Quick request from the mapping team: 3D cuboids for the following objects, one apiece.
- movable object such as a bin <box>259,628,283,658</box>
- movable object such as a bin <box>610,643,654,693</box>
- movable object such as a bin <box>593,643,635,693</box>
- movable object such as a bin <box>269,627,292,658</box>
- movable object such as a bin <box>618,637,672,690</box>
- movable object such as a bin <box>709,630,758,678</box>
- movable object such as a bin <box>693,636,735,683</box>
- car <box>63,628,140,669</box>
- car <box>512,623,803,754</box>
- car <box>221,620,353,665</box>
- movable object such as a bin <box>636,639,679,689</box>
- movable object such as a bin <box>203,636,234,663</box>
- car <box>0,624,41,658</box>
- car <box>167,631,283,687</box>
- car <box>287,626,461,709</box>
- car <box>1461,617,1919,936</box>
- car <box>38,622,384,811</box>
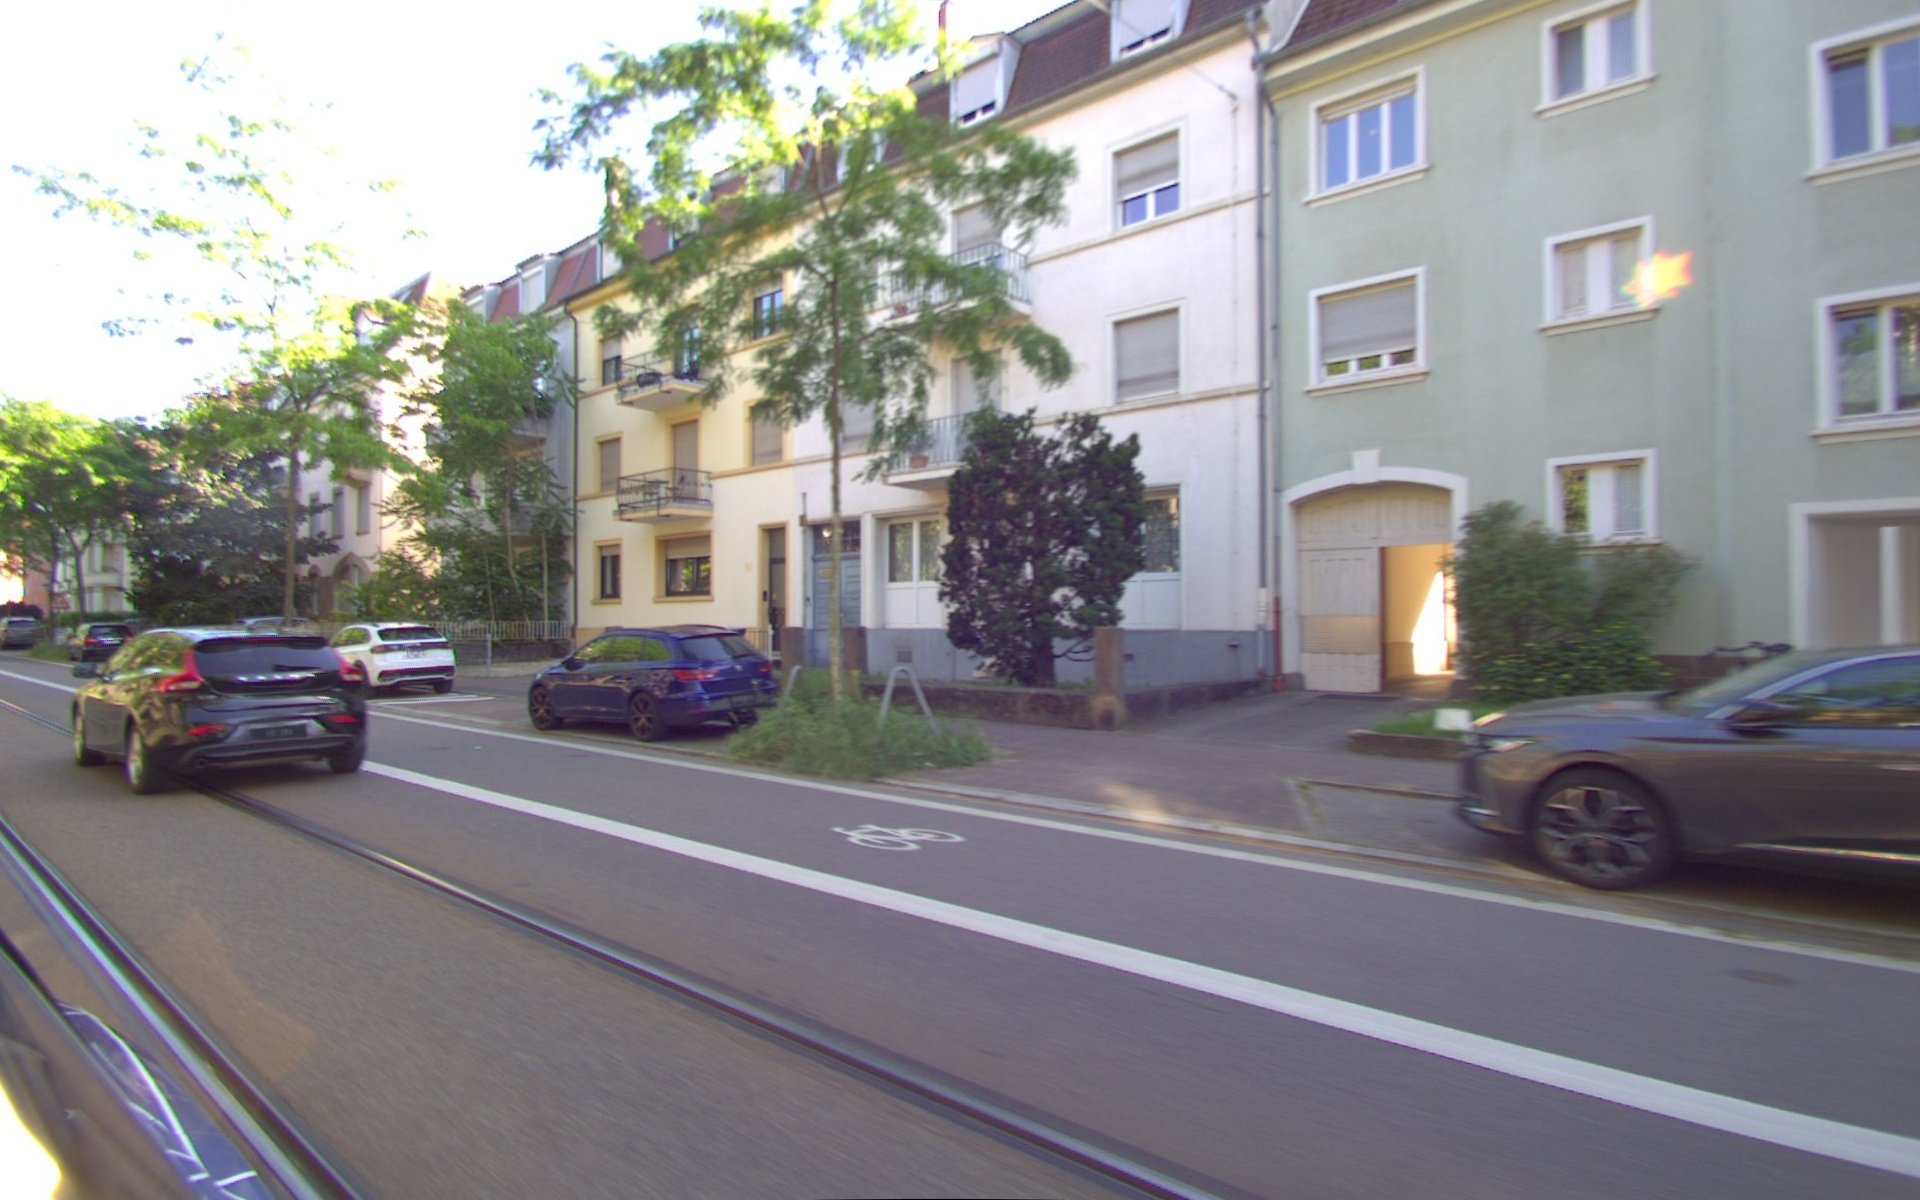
[{"bbox_3d":[-24.677,1.532,36.247,0.670,1.074,0.535,-2,-2,41],"label":"movable object such as a bin"},{"bbox_3d":[-6.756,1.388,20.839,0.733,0.983,0.553,-2,0,44],"label":"movable object such as a bin"},{"bbox_3d":[-7.301,1.424,21.369,0.733,0.983,0.553,-2,0,44],"label":"movable object such as a bin"},{"bbox_3d":[-23.845,1.493,35.524,0.510,1.074,0.541,-2,-2,41],"label":"movable object such as a bin"},{"bbox_3d":[-6.804,1.360,21.882,0.733,1.054,0.835,-2,0,44],"label":"movable object such as a bin"},{"bbox_3d":[-5.248,1.241,23.473,0.733,1.054,0.835,-2,0,44],"label":"movable object such as a bin"},{"bbox_3d":[-5.369,1.292,22.104,0.733,0.983,0.553,-2,0,44],"label":"movable object such as a bin"},{"bbox_3d":[-35.189,1.937,41.451,4.483,1.553,1.758,-2,-1,41],"label":"car"},{"bbox_3d":[-4.336,1.111,14.141,4.435,1.522,1.740,-2,-1,40],"label":"car"},{"bbox_3d":[-27.502,1.704,41.467,1.981,1.671,4.124,-1,-1,39],"label":"car"},{"bbox_3d":[-6.361,1.333,21.248,0.733,0.983,0.553,-2,0,44],"label":"movable object such as a bin"},{"bbox_3d":[-30.452,2.014,41.542,0.813,1.074,0.866,-2,-2,41],"label":"movable object such as a bin"},{"bbox_3d":[-54.438,2.335,58.093,4.766,1.837,1.852,-2,-1,39],"label":"car"},{"bbox_3d":[-20.909,1.609,28.718,4.330,1.417,1.688,-2,-1,40],"label":"car"},{"bbox_3d":[-12.369,1.341,21.250,4.367,1.522,1.799,-2,-1,40],"label":"car"},{"bbox_3d":[5.246,0.855,5.495,4.204,1.496,1.798,-2,-1,41],"label":"car"},{"bbox_3d":[-7.515,0.960,9.977,4.520,1.450,1.740,-1,-1,40],"label":"car"}]
